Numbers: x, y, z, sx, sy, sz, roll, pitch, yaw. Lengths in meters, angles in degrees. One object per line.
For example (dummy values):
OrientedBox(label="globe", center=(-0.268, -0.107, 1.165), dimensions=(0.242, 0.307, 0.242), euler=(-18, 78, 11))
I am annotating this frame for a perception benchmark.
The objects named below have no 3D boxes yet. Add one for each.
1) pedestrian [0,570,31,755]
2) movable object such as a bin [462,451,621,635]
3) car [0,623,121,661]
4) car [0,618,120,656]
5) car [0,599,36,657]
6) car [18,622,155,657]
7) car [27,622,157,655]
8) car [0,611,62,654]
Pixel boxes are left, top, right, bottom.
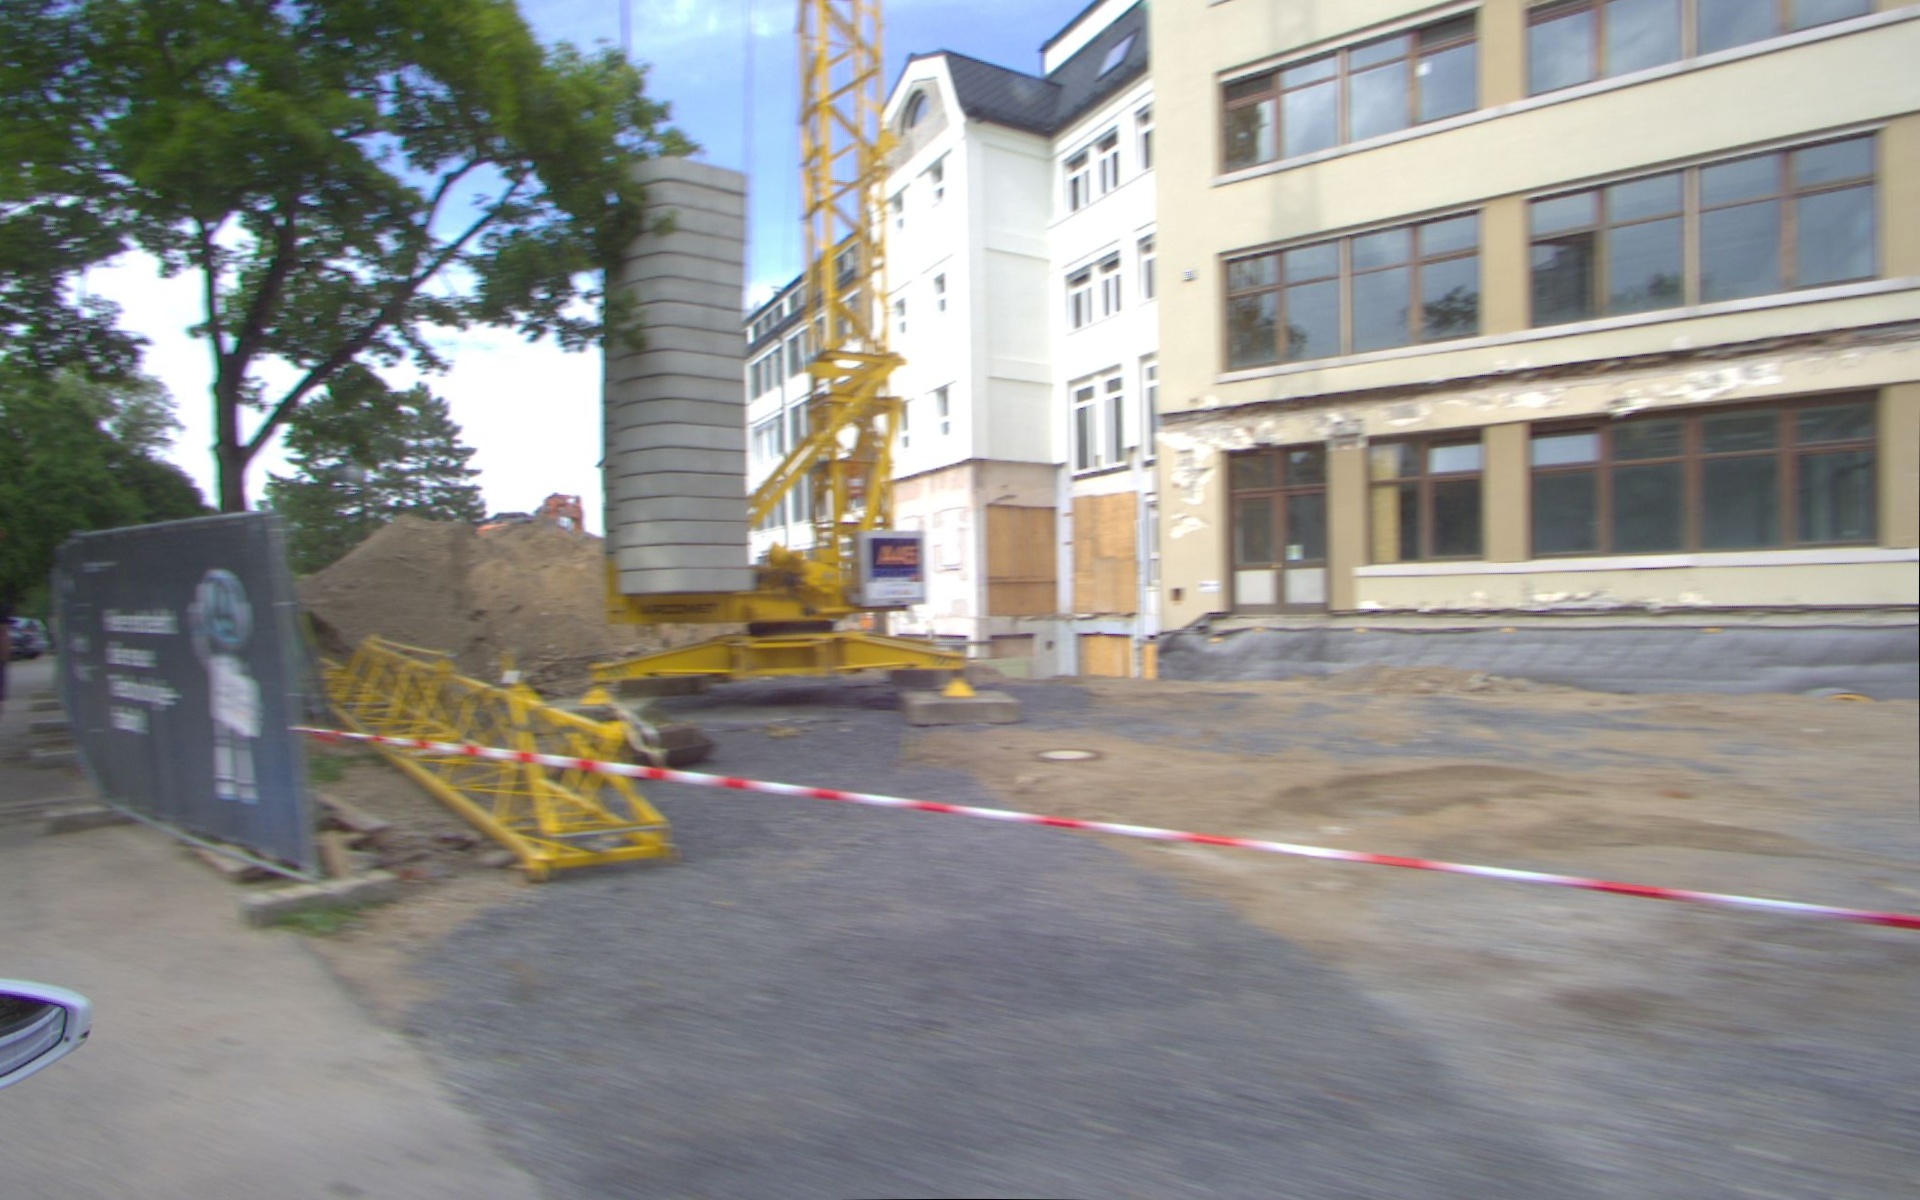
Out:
OrientedBox(label="pedestrian", center=(-9.787, 0.614, 9.929), dimensions=(0.741, 1.813, 0.725), euler=(-1, 1, -37))
OrientedBox(label="movable object such as a bin", center=(-17.302, -2.076, 42.506), dimensions=(3.784, 6.758, 10.980), euler=(0, 0, -9))
OrientedBox(label="car", center=(-40.431, 1.867, 44.806), dimensions=(4.296, 1.563, 1.740), euler=(0, 0, -38))
OrientedBox(label="car", center=(-38.916, 1.564, 42.618), dimensions=(4.750, 1.508, 1.985), euler=(0, 0, -38))
OrientedBox(label="car", center=(-34.554, 0.958, 33.529), dimensions=(4.995, 1.979, 1.987), euler=(0, 0, -34))
OrientedBox(label="car", center=(-41.645, 1.865, 47.920), dimensions=(4.750, 1.508, 1.985), euler=(0, 0, -38))
OrientedBox(label="car", center=(-43.361, 1.896, 50.175), dimensions=(4.750, 1.508, 1.985), euler=(0, 0, -38))
OrientedBox(label="car", center=(-35.776, 1.189, 36.615), dimensions=(3.937, 1.520, 1.924), euler=(0, 0, -25))
